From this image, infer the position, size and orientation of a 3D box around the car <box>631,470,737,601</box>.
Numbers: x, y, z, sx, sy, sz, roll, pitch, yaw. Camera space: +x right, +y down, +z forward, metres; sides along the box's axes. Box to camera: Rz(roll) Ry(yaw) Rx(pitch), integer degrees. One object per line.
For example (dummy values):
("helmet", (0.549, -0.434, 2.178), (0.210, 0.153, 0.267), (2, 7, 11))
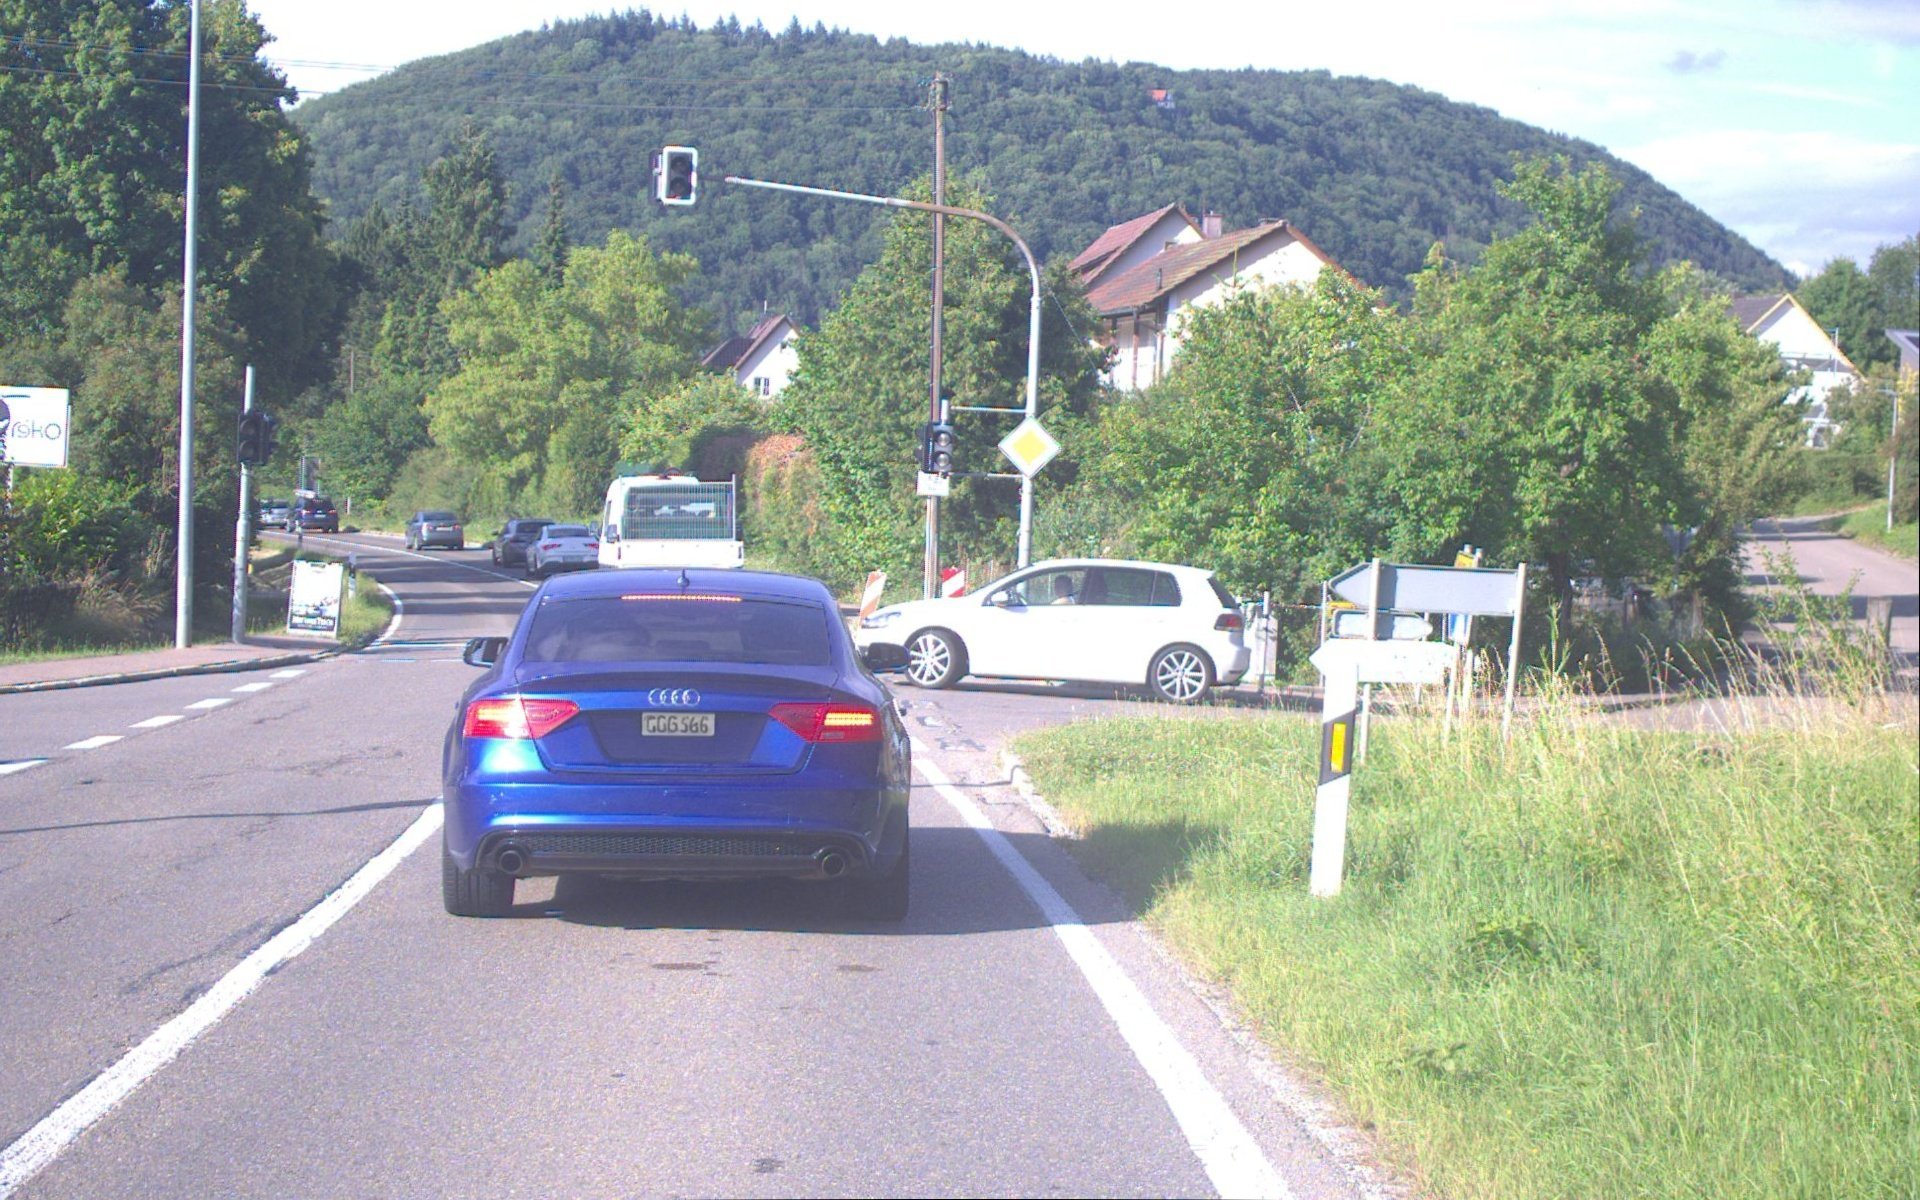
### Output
("car", (-4.802, -1.104, 60.255), (1.746, 2.188, 4.000), (1, 0, -3))

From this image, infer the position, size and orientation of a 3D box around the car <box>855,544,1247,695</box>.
("car", (1.005, 0.195, 36.567), (4.045, 1.503, 1.855), (1, 0, 4))

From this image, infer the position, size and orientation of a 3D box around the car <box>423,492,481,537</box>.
("car", (-18.534, -3.109, 125.564), (1.822, 1.568, 4.001), (1, 0, -5))

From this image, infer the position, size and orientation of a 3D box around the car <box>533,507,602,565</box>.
("car", (-10.460, -1.686, 91.514), (1.697, 1.485, 3.528), (1, 0, -8))

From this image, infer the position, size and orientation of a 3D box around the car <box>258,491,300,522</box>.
("car", (-33.238, -4.569, 167.963), (1.688, 1.433, 3.671), (1, 0, -6))

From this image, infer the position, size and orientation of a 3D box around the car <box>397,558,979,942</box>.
("car", (-0.984, 0.535, 14.472), (1.795, 1.383, 3.999), (0, 0, 5))

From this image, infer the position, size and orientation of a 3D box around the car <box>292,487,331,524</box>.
("car", (-29.691, -4.310, 157.493), (1.625, 1.571, 3.680), (1, 0, -9))

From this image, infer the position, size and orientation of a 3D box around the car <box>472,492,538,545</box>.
("car", (-13.642, -2.431, 102.989), (1.697, 1.485, 3.528), (1, 0, -12))

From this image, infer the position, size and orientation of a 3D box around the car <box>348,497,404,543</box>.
("car", (-20.114, -2.743, 118.461), (1.697, 1.485, 3.527), (1, 0, -6))

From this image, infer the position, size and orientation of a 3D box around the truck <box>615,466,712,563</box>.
("truck", (-6.385, -1.793, 73.520), (1.697, 1.947, 5.924), (1, 0, -8))
